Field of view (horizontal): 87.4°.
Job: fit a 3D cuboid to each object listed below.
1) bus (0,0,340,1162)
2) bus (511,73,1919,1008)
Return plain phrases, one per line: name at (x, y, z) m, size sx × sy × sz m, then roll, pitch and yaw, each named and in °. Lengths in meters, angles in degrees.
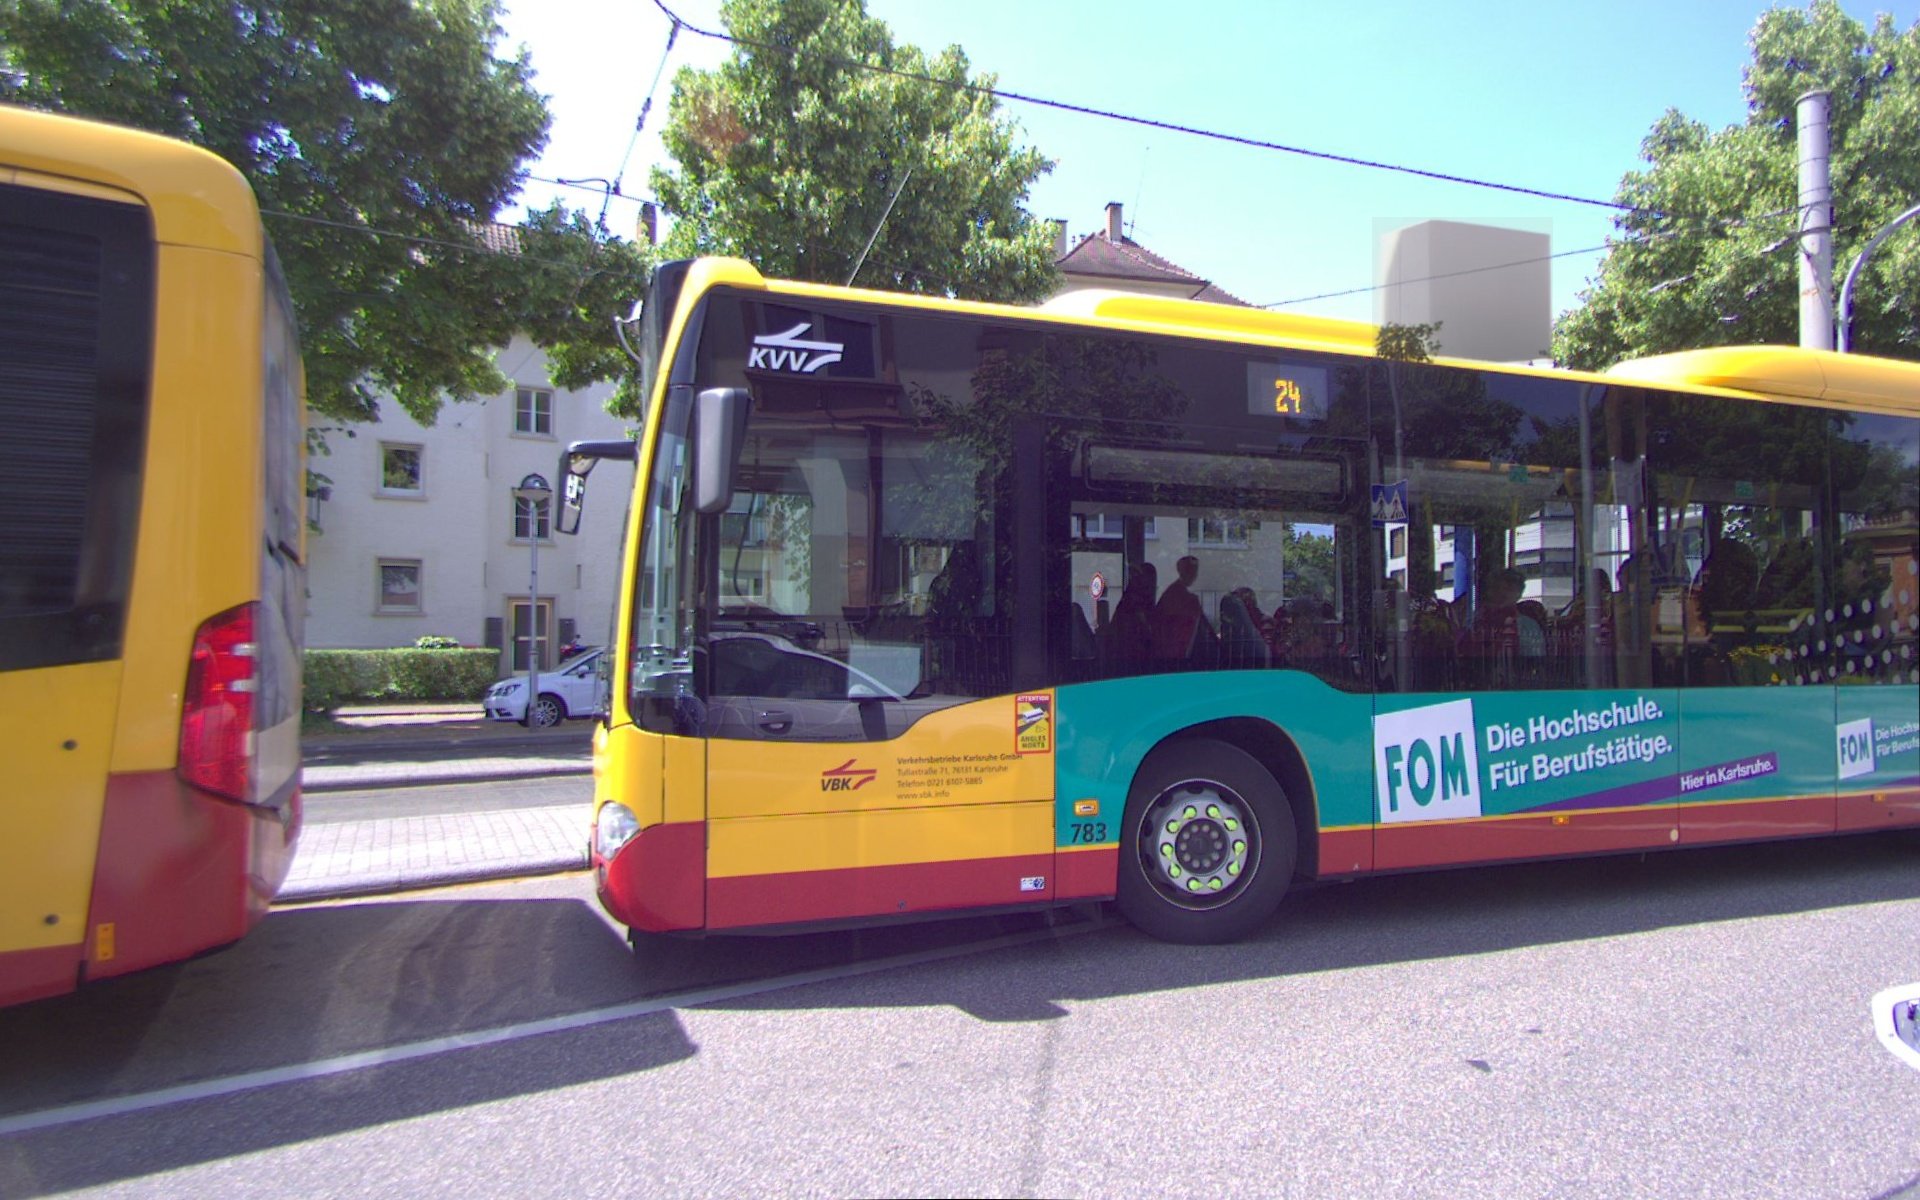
bus at (-7.959, -0.246, 1.324) m, size 11.979 × 3.291 × 2.893 m, roll 2°, pitch 0°, yaw -31°
bus at (3.762, -0.140, 6.765) m, size 12.113 × 3.251 × 2.777 m, roll 1°, pitch 0°, yaw -19°
